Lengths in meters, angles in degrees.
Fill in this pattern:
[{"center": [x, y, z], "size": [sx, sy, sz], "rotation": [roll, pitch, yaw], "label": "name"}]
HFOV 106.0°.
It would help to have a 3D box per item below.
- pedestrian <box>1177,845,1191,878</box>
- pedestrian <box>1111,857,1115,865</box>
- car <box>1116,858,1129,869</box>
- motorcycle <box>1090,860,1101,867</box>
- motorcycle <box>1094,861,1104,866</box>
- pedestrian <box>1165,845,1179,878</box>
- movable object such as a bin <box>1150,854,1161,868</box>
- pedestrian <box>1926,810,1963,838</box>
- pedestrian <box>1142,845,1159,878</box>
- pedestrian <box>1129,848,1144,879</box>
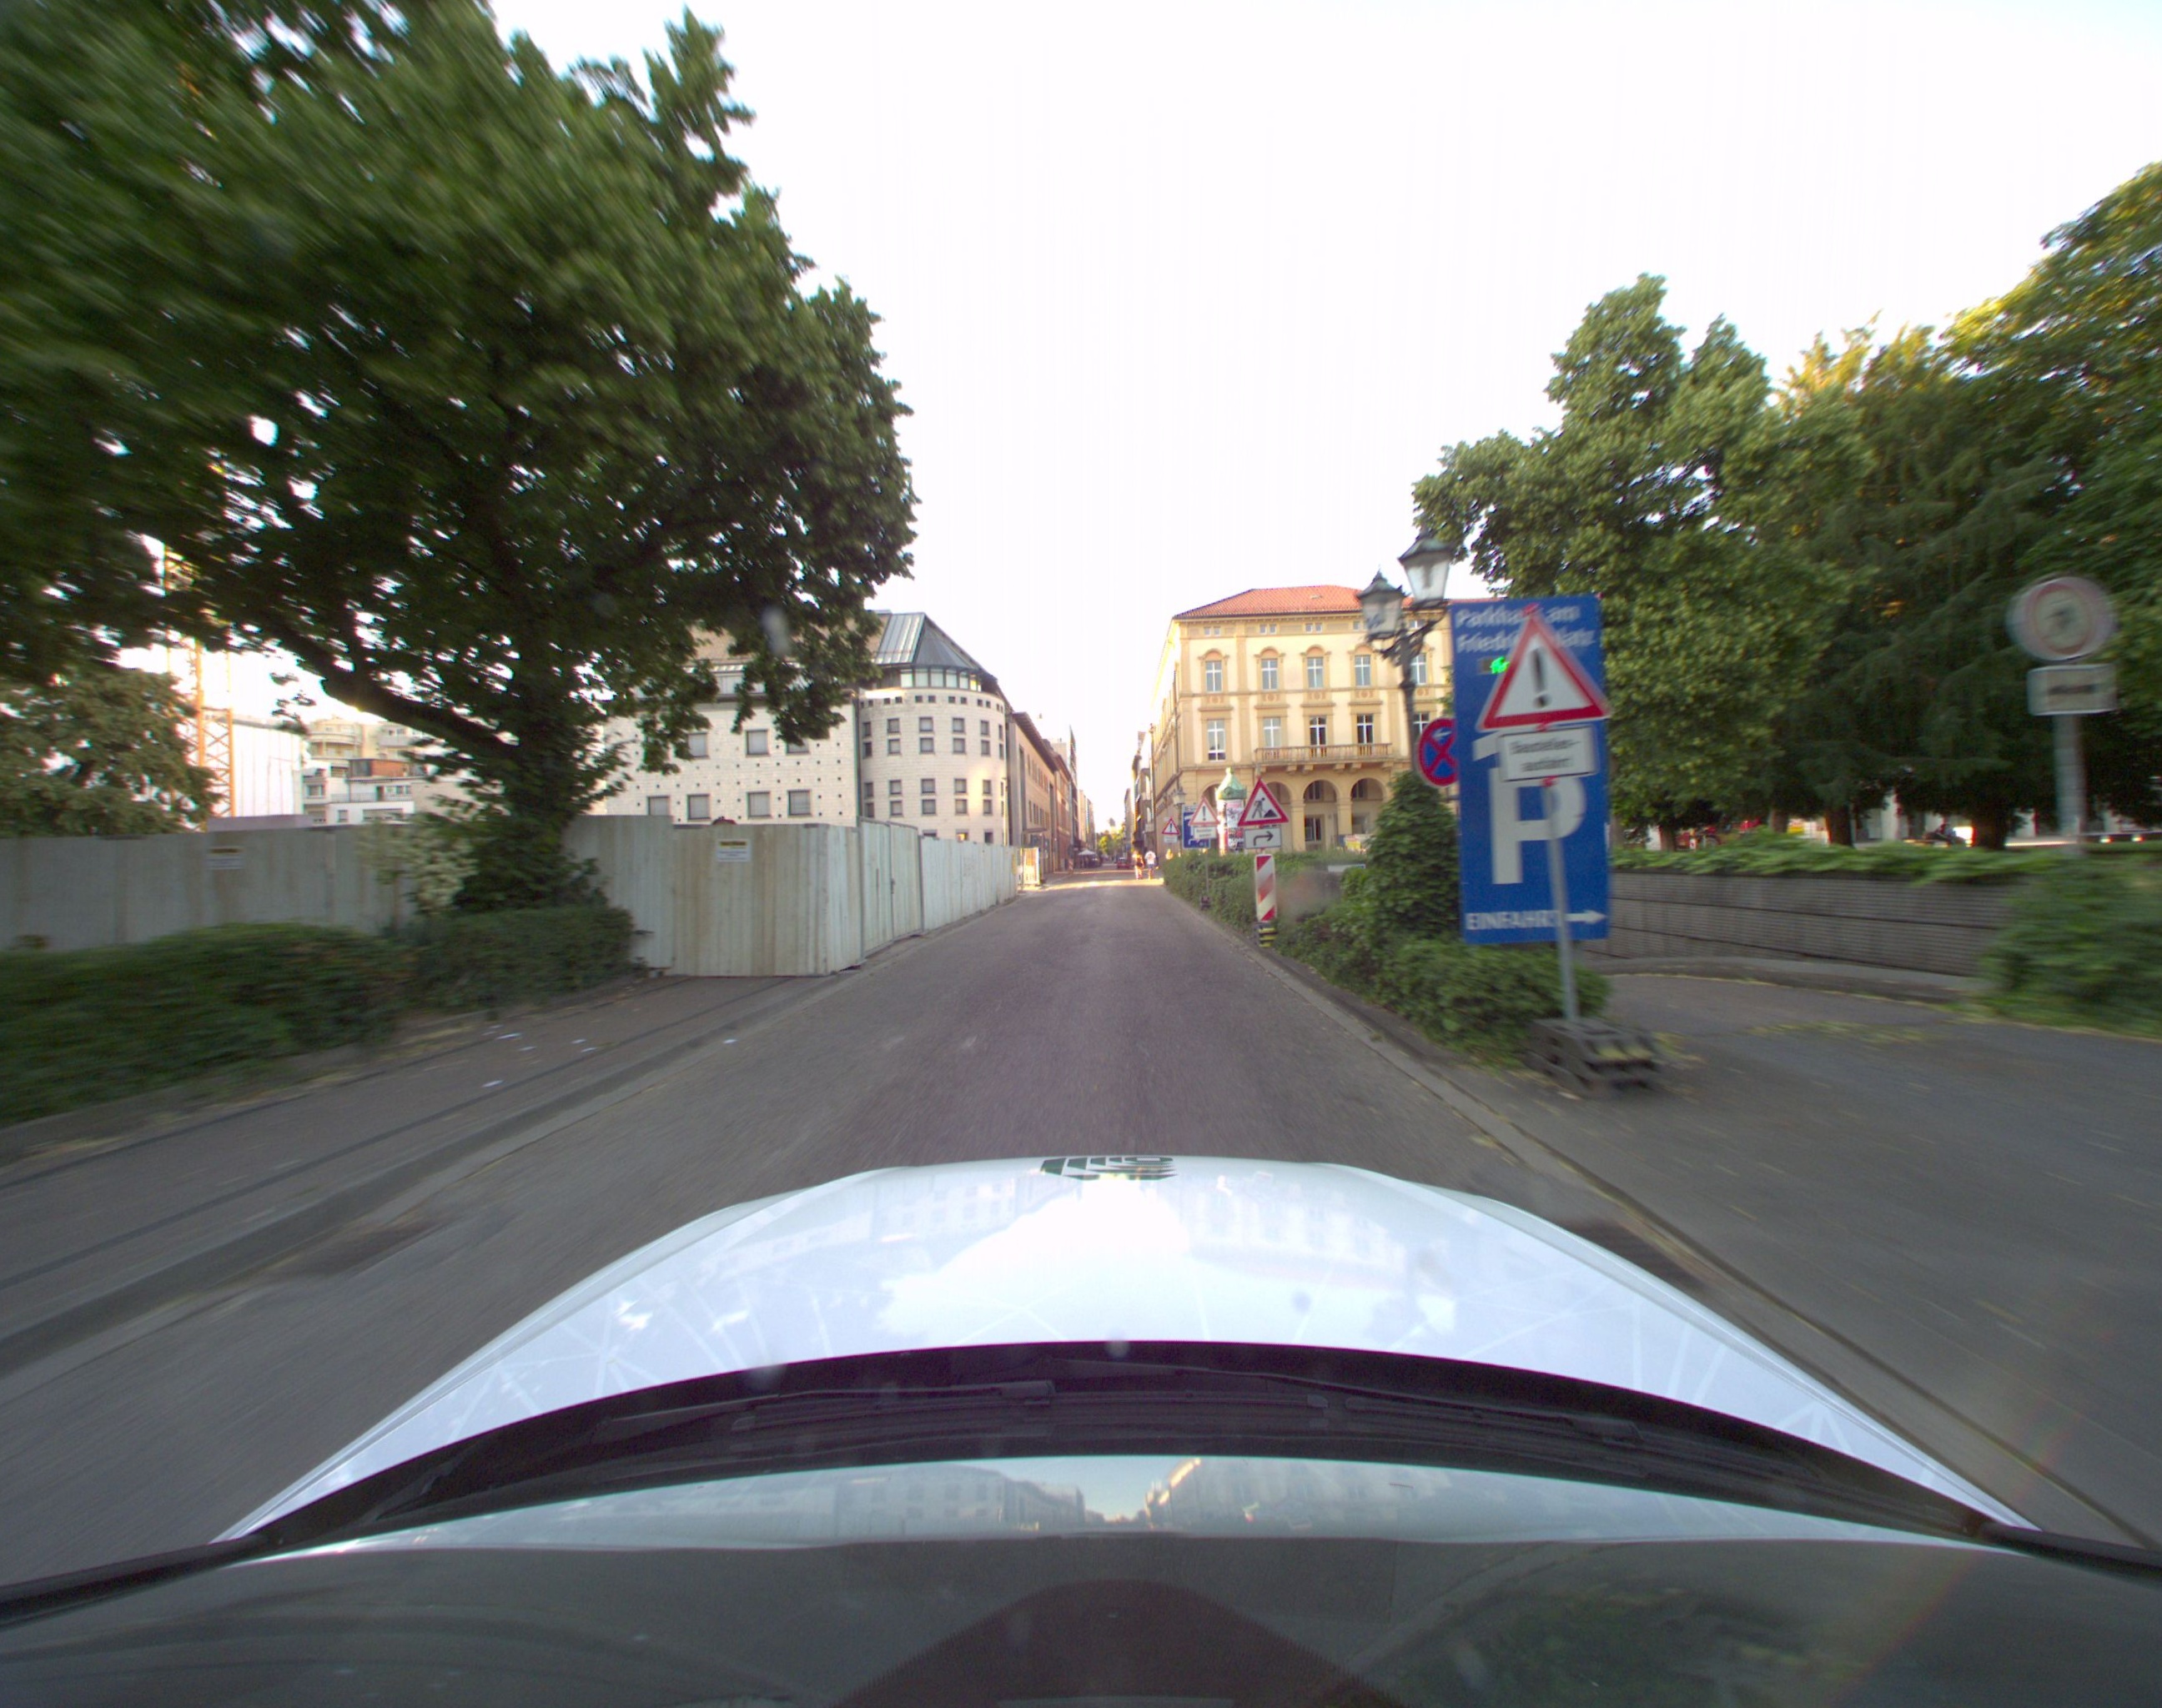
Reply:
[{"center": [5.765, 0.408, 45.676], "size": [0.634, 1.803, 0.772], "rotation": [-3, -1, 1], "label": "pedestrian"}, {"center": [6.994, 1.497, 178.580], "size": [0.801, 1.672, 0.889], "rotation": [-2, -1, 4], "label": "pedestrian"}, {"center": [5.469, 1.264, 106.819], "size": [1.643, 1.427, 3.537], "rotation": [0, -1, 3], "label": "car"}, {"center": [2.472, 1.660, 138.623], "size": [1.797, 1.040, 0.493], "rotation": [-2, -1, -3], "label": "motorcycle"}, {"center": [3.204, 1.720, 146.802], "size": [1.797, 0.875, 0.560], "rotation": [-2, -1, -3], "label": "motorcycle"}, {"center": [5.091, 0.434, 45.679], "size": [0.634, 1.803, 0.772], "rotation": [-3, -1, 1], "label": "pedestrian"}, {"center": [7.805, 0.723, 85.778], "size": [0.987, 1.392, 1.241], "rotation": [-3, -1, 1], "label": "movable object such as a bin"}, {"center": [41.145, -1.411, 38.821], "size": [0.705, 1.252, 0.926], "rotation": [-2, -1, -3], "label": "pedestrian"}, {"center": [4.036, 0.447, 47.186], "size": [0.809, 1.875, 0.875], "rotation": [-3, -1, 1], "label": "pedestrian"}, {"center": [3.203, 0.524, 47.167], "size": [0.773, 1.746, 0.875], "rotation": [-3, -1, 1], "label": "pedestrian"}]
